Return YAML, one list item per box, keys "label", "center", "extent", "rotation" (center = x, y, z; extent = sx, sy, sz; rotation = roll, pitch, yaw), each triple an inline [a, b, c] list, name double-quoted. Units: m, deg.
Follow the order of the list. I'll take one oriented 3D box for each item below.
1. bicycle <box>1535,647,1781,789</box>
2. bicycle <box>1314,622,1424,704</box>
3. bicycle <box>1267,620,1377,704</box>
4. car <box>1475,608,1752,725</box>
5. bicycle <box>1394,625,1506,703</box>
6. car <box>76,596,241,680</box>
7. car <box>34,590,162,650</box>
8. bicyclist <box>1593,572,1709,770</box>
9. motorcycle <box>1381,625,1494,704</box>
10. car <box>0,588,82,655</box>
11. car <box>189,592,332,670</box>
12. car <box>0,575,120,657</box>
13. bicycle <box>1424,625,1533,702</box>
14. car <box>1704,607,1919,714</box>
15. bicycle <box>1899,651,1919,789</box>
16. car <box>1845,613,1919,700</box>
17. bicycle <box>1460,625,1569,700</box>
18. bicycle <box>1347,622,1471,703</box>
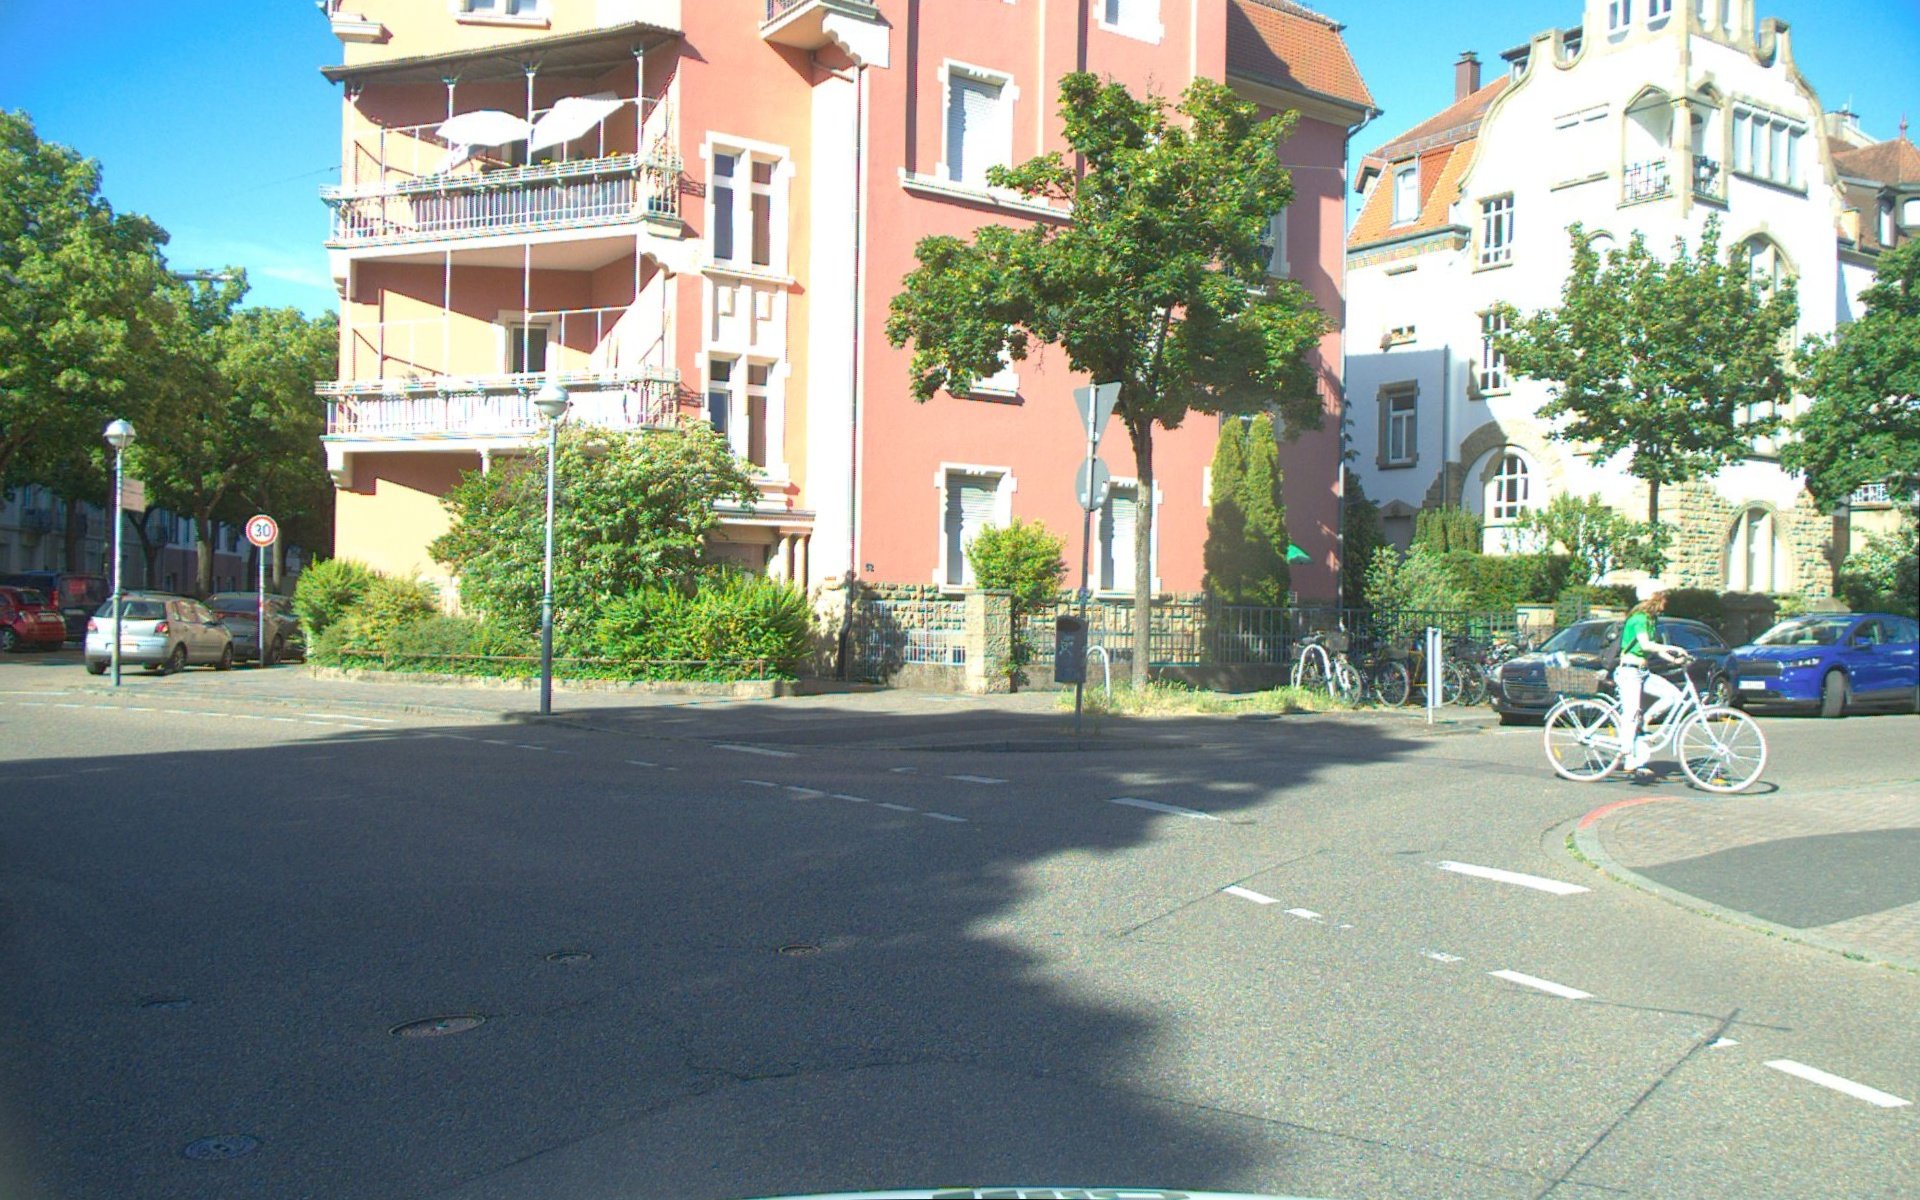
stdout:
- label: "bicycle"
  center: [5.862, 0.960, 13.940]
  extent: [1.825, 1.127, 0.594]
  rotation: [-1, -2, 35]
- label: "bicycle"
  center: [6.217, 0.942, 25.218]
  extent: [0.539, 1.134, 1.708]
  rotation: [1, 1, -33]
- label: "bicycle"
  center: [5.383, 0.909, 24.692]
  extent: [0.539, 1.134, 1.708]
  rotation: [1, 1, -33]
- label: "car"
  center: [9.344, 0.922, 23.506]
  extent: [4.296, 1.510, 1.784]
  rotation: [1, -3, -39]
- label: "bicycle"
  center: [7.806, 1.003, 26.410]
  extent: [0.496, 1.126, 1.702]
  rotation: [1, 2, -40]
- label: "car"
  center: [-15.357, 0.703, 31.871]
  extent: [1.650, 1.472, 3.542]
  rotation: [2, 0, -5]
- label: "car"
  center: [-23.787, 0.544, 45.601]
  extent: [3.313, 1.495, 1.683]
  rotation: [2, -1, 33]
- label: "bicyclist"
  center: [5.839, 0.590, 13.974]
  extent: [0.788, 1.609, 0.594]
  rotation: [-1, -2, 35]
- label: "motorcycle"
  center: [7.474, 0.996, 25.954]
  extent: [0.496, 1.126, 1.702]
  rotation: [1, 2, -40]
- label: "car"
  center: [-22.477, 0.457, 38.360]
  extent: [3.301, 1.472, 1.689]
  rotation: [2, -1, 8]
- label: "car"
  center: [-15.523, 0.655, 36.924]
  extent: [1.650, 1.590, 4.290]
  rotation: [2, 0, -5]
- label: "car"
  center: [-22.679, 0.379, 40.829]
  extent: [3.305, 1.897, 1.687]
  rotation: [2, -1, 24]
- label: "bicycle"
  center: [8.375, 1.012, 26.772]
  extent: [0.495, 1.126, 1.705]
  rotation: [1, 1, -36]
- label: "car"
  center: [14.042, 0.957, 26.581]
  extent: [4.346, 1.589, 1.788]
  rotation: [1, -3, -34]
- label: "bicycle"
  center: [8.529, 0.984, 13.203]
  extent: [0.640, 1.127, 1.692]
  rotation: [2, -2, -39]
- label: "car"
  center: [17.980, 0.996, 29.796]
  extent: [4.346, 1.476, 1.788]
  rotation: [1, -3, -34]
- label: "bicycle"
  center: [9.123, 1.008, 27.286]
  extent: [0.510, 1.126, 1.705]
  rotation: [1, 1, -36]
- label: "bicycle"
  center: [6.927, 0.954, 25.587]
  extent: [1.797, 1.126, 0.498]
  rotation: [3, 2, 42]
